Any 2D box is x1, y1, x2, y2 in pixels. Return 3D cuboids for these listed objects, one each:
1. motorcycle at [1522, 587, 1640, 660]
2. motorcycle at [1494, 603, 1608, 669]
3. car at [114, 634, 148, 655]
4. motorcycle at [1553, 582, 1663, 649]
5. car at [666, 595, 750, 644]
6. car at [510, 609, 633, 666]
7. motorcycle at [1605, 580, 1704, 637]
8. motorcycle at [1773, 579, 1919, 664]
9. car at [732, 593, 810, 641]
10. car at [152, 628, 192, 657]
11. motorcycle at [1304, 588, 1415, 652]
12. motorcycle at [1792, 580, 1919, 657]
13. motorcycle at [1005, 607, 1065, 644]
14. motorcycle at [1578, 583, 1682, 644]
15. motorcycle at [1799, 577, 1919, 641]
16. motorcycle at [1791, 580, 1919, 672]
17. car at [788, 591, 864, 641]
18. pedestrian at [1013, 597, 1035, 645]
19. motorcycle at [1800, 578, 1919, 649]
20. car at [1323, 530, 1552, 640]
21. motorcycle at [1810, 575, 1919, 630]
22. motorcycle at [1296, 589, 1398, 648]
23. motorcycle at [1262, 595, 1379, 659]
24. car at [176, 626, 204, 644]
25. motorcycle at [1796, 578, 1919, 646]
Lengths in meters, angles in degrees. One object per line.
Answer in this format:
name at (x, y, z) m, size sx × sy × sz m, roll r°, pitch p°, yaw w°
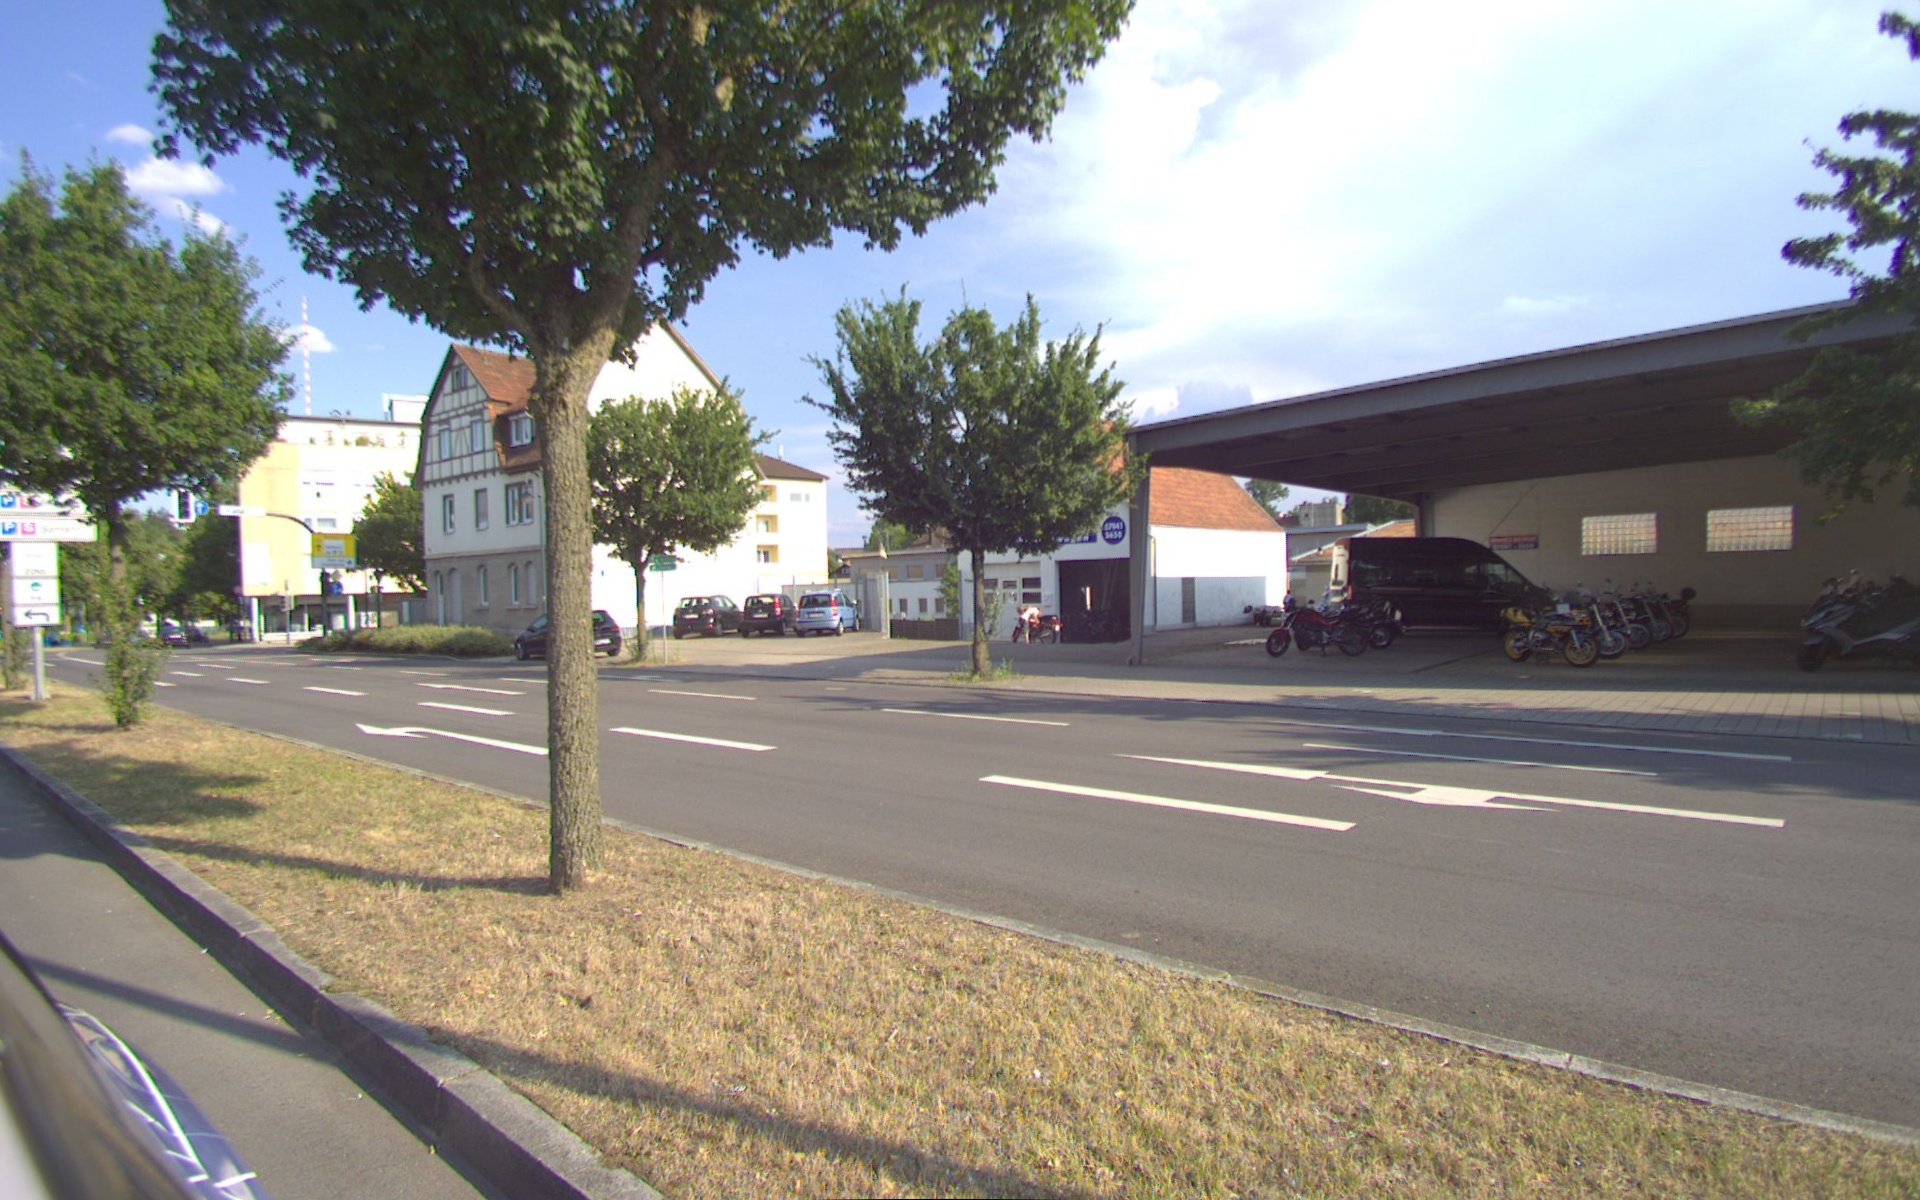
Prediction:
motorcycle at (12.171, 0.435, 19.952) m, size 0.621 × 1.347 × 2.269 m, roll -1°, pitch 0°, yaw -9°
motorcycle at (10.544, 0.617, 18.147) m, size 0.621 × 1.095 × 2.038 m, roll -1°, pitch 0°, yaw -7°
car at (-64.593, 3.434, 78.867) m, size 1.753 × 1.480 × 4.385 m, roll -1°, pitch 0°, yaw -36°
motorcycle at (13.877, 0.322, 21.764) m, size 0.621 × 1.347 × 2.269 m, roll -1°, pitch 0°, yaw -9°
car at (-9.308, 0.688, 37.697) m, size 1.797 × 1.512 × 3.819 m, roll -3°, pitch 2°, yaw 5°
car at (-11.586, 1.079, 30.074) m, size 3.823 × 1.462 × 1.795 m, roll -1°, pitch 2°, yaw 42°
motorcycle at (17.304, 0.217, 25.298) m, size 0.621 × 1.347 × 2.269 m, roll -1°, pitch 0°, yaw -9°
motorcycle at (14.926, 0.359, 16.771) m, size 2.103 × 1.306 × 0.628 m, roll -3°, pitch -1°, yaw 18°
car at (-6.907, 0.584, 37.304) m, size 1.797 × 1.512 × 3.819 m, roll -3°, pitch 2°, yaw 5°
car at (-49.968, 2.659, 64.142) m, size 1.755 × 1.706 × 4.006 m, roll -1°, pitch 0°, yaw -41°
motorcycle at (8.970, 0.448, 22.800) m, size 2.198 × 1.372 × 0.630 m, roll -1°, pitch 0°, yaw 5°
motorcycle at (16.544, 0.338, 18.343) m, size 2.103 × 1.306 × 0.628 m, roll -3°, pitch -1°, yaw 18°
motorcycle at (2.448, 0.836, 33.207) m, size 1.974 × 1.194 × 0.577 m, roll -1°, pitch 0°, yaw 41°
motorcycle at (15.550, 0.300, 23.574) m, size 0.621 × 1.347 × 2.269 m, roll -1°, pitch 0°, yaw -9°
motorcycle at (20.242, 0.204, 22.639) m, size 2.103 × 1.306 × 0.628 m, roll -3°, pitch -1°, yaw 18°
motorcycle at (13.874, 0.373, 15.111) m, size 2.103 × 1.306 × 0.628 m, roll -3°, pitch -1°, yaw 18°
car at (-4.668, 0.518, 35.674) m, size 1.797 × 1.512 × 3.819 m, roll -3°, pitch 2°, yaw 5°
pedestrian at (2.086, 0.673, 32.761) m, size 0.485 × 1.530 × 0.496 m, roll -1°, pitch 0°, yaw 41°
motorcycle at (18.058, 0.267, 19.983) m, size 2.103 × 1.306 × 0.628 m, roll -3°, pitch -1°, yaw 18°
car at (12.879, -0.381, 27.624) m, size 5.221 × 2.773 × 1.996 m, roll -1°, pitch 0°, yaw 7°
motorcycle at (23.748, 0.070, 26.516) m, size 2.103 × 1.306 × 0.628 m, roll -3°, pitch -1°, yaw 18°
motorcycle at (9.392, 0.450, 24.603) m, size 2.198 × 1.372 × 0.630 m, roll -1°, pitch 0°, yaw 5°
motorcycle at (7.510, 0.559, 21.156) m, size 2.202 × 1.290 × 0.629 m, roll -1°, pitch 0°, yaw 11°
car at (-77.953, 3.493, 102.482) m, size 1.752 × 1.706 × 4.012 m, roll -1°, pitch 0°, yaw -31°
motorcycle at (19.047, 0.254, 21.284) m, size 2.103 × 1.306 × 0.628 m, roll -3°, pitch -1°, yaw 18°
